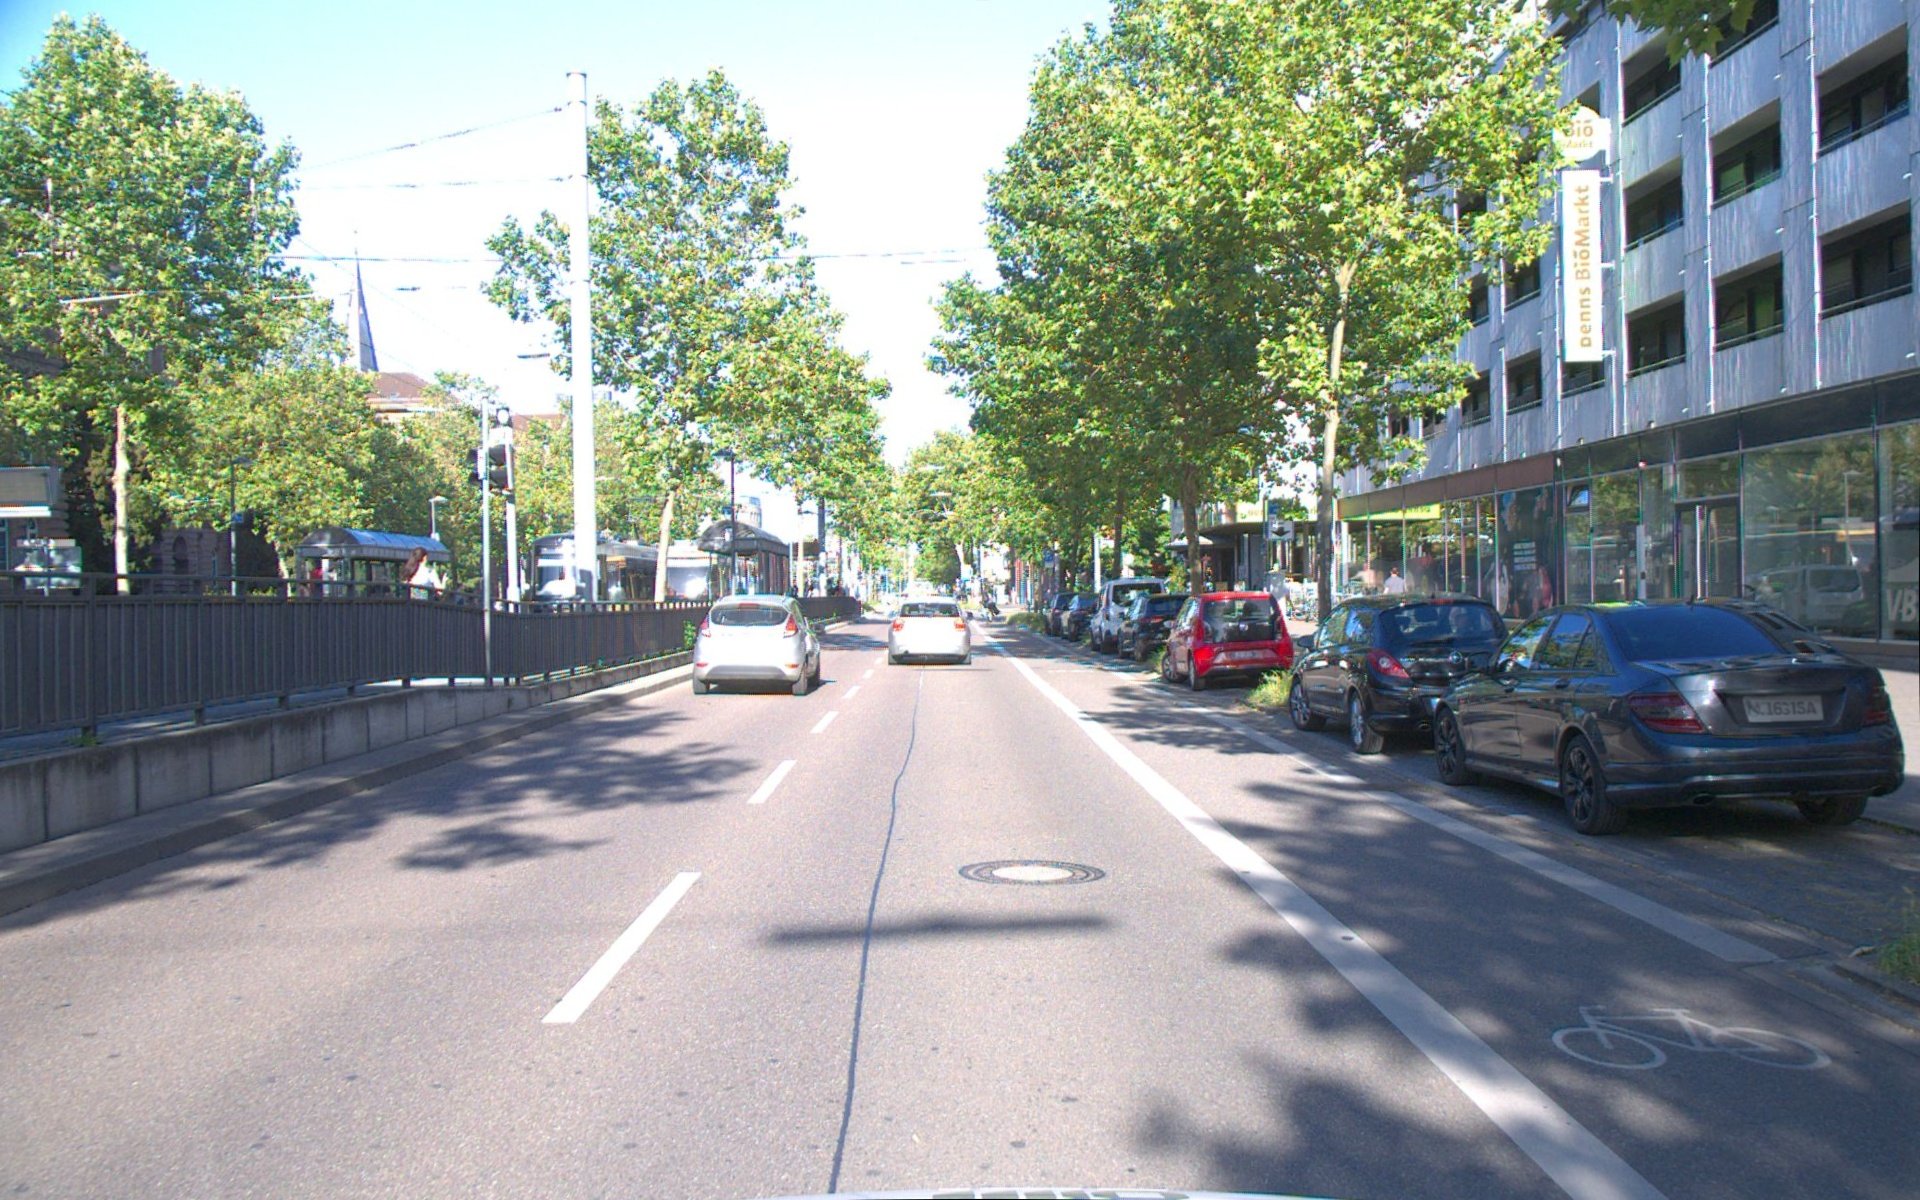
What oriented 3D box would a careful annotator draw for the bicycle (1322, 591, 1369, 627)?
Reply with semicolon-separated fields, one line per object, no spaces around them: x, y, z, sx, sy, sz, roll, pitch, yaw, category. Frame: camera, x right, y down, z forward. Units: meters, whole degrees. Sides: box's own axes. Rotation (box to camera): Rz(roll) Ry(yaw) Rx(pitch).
11.802;0.282;50.651;1.355;1.074;0.243;1;1;-2;bicycle

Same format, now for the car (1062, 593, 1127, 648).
4.161;0.610;51.599;1.676;1.590;4.000;1;1;0;car

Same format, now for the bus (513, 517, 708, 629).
-13.521;-1.083;67.483;2.810;3.691;24.602;-1;1;0;bus

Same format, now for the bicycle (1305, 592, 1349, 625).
11.748;0.283;52.975;1.355;1.030;0.243;1;1;-2;bicycle

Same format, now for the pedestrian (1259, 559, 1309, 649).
7.572;0.093;38.701;0.944;2.049;0.938;-1;0;0;pedestrian

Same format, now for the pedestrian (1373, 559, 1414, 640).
11.184;-0.008;42.666;0.772;2.049;0.891;-1;0;0;pedestrian

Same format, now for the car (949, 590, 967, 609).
-0.242;-0.069;188.034;2.029;2.049;4.000;-1;0;0;car

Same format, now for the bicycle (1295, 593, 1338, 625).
11.769;0.288;54.547;1.355;1.046;0.243;1;1;-2;bicycle

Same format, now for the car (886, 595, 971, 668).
-0.689;0.639;35.760;1.726;1.457;3.999;0;0;-1;car

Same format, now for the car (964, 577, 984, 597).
1.492;-1.359;175.932;1.953;2.049;3.999;-1;0;-1;car

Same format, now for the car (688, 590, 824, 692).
-3.059;0.572;25.384;1.613;1.386;3.760;1;1;0;car

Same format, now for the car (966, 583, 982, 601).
1.707;-0.999;199.017;1.837;2.048;3.711;1;1;0;car

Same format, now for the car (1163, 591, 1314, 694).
4.479;0.646;27.153;1.769;1.547;4.000;1;0;0;car

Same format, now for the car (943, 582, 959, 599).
-1.150;-1.158;204.044;1.953;2.048;4.000;1;1;0;car

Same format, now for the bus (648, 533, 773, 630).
-10.654;-0.838;73.021;2.694;3.689;18.847;-1;1;0;bus

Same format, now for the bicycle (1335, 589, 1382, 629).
11.972;0.272;49.676;1.355;1.168;0.243;1;1;-2;bicycle

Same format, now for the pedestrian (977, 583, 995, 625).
1.277;0.208;81.060;0.820;2.049;0.649;1;1;6;pedestrian

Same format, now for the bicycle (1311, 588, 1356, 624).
11.848;0.199;52.504;1.355;1.117;0.243;1;1;-2;bicycle

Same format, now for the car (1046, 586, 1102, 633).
4.019;0.298;58.755;1.666;1.561;3.716;1;1;0;car

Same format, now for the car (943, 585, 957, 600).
-1.483;-1.049;239.052;1.953;2.048;4.000;1;1;0;car

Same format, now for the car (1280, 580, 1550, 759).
4.505;0.603;16.971;1.635;1.578;4.000;1;1;0;car

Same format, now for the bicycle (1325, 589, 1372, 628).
11.832;0.263;50.367;1.355;1.168;0.243;1;1;-2;bicycle

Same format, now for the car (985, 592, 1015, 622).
2.591;0.428;107.695;1.772;1.822;3.911;1;1;0;car

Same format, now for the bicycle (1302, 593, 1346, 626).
11.770;0.293;53.504;1.355;1.041;0.243;1;1;-2;bicycle

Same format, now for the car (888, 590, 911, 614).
-5.497;0.188;151.718;1.953;2.048;4.000;1;1;0;car

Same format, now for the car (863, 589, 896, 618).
-5.321;0.201;109.633;1.953;1.848;4.000;1;1;0;car

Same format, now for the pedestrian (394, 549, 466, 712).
-6.630;0.369;20.710;0.626;1.988;0.813;1;1;0;pedestrian

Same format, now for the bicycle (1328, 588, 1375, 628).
11.846;0.240;50.001;1.355;1.168;0.243;1;1;-2;bicycle

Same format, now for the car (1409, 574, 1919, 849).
4.777;0.639;11.643;1.953;1.535;4.597;1;0;0;car

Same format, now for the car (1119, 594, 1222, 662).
4.593;0.575;36.616;1.744;1.405;4.000;1;0;0;car

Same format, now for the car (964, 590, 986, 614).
1.369;0.176;151.388;1.953;2.048;4.000;1;1;0;car

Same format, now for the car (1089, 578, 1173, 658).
4.339;0.425;42.428;1.689;1.913;4.000;1;0;0;car
